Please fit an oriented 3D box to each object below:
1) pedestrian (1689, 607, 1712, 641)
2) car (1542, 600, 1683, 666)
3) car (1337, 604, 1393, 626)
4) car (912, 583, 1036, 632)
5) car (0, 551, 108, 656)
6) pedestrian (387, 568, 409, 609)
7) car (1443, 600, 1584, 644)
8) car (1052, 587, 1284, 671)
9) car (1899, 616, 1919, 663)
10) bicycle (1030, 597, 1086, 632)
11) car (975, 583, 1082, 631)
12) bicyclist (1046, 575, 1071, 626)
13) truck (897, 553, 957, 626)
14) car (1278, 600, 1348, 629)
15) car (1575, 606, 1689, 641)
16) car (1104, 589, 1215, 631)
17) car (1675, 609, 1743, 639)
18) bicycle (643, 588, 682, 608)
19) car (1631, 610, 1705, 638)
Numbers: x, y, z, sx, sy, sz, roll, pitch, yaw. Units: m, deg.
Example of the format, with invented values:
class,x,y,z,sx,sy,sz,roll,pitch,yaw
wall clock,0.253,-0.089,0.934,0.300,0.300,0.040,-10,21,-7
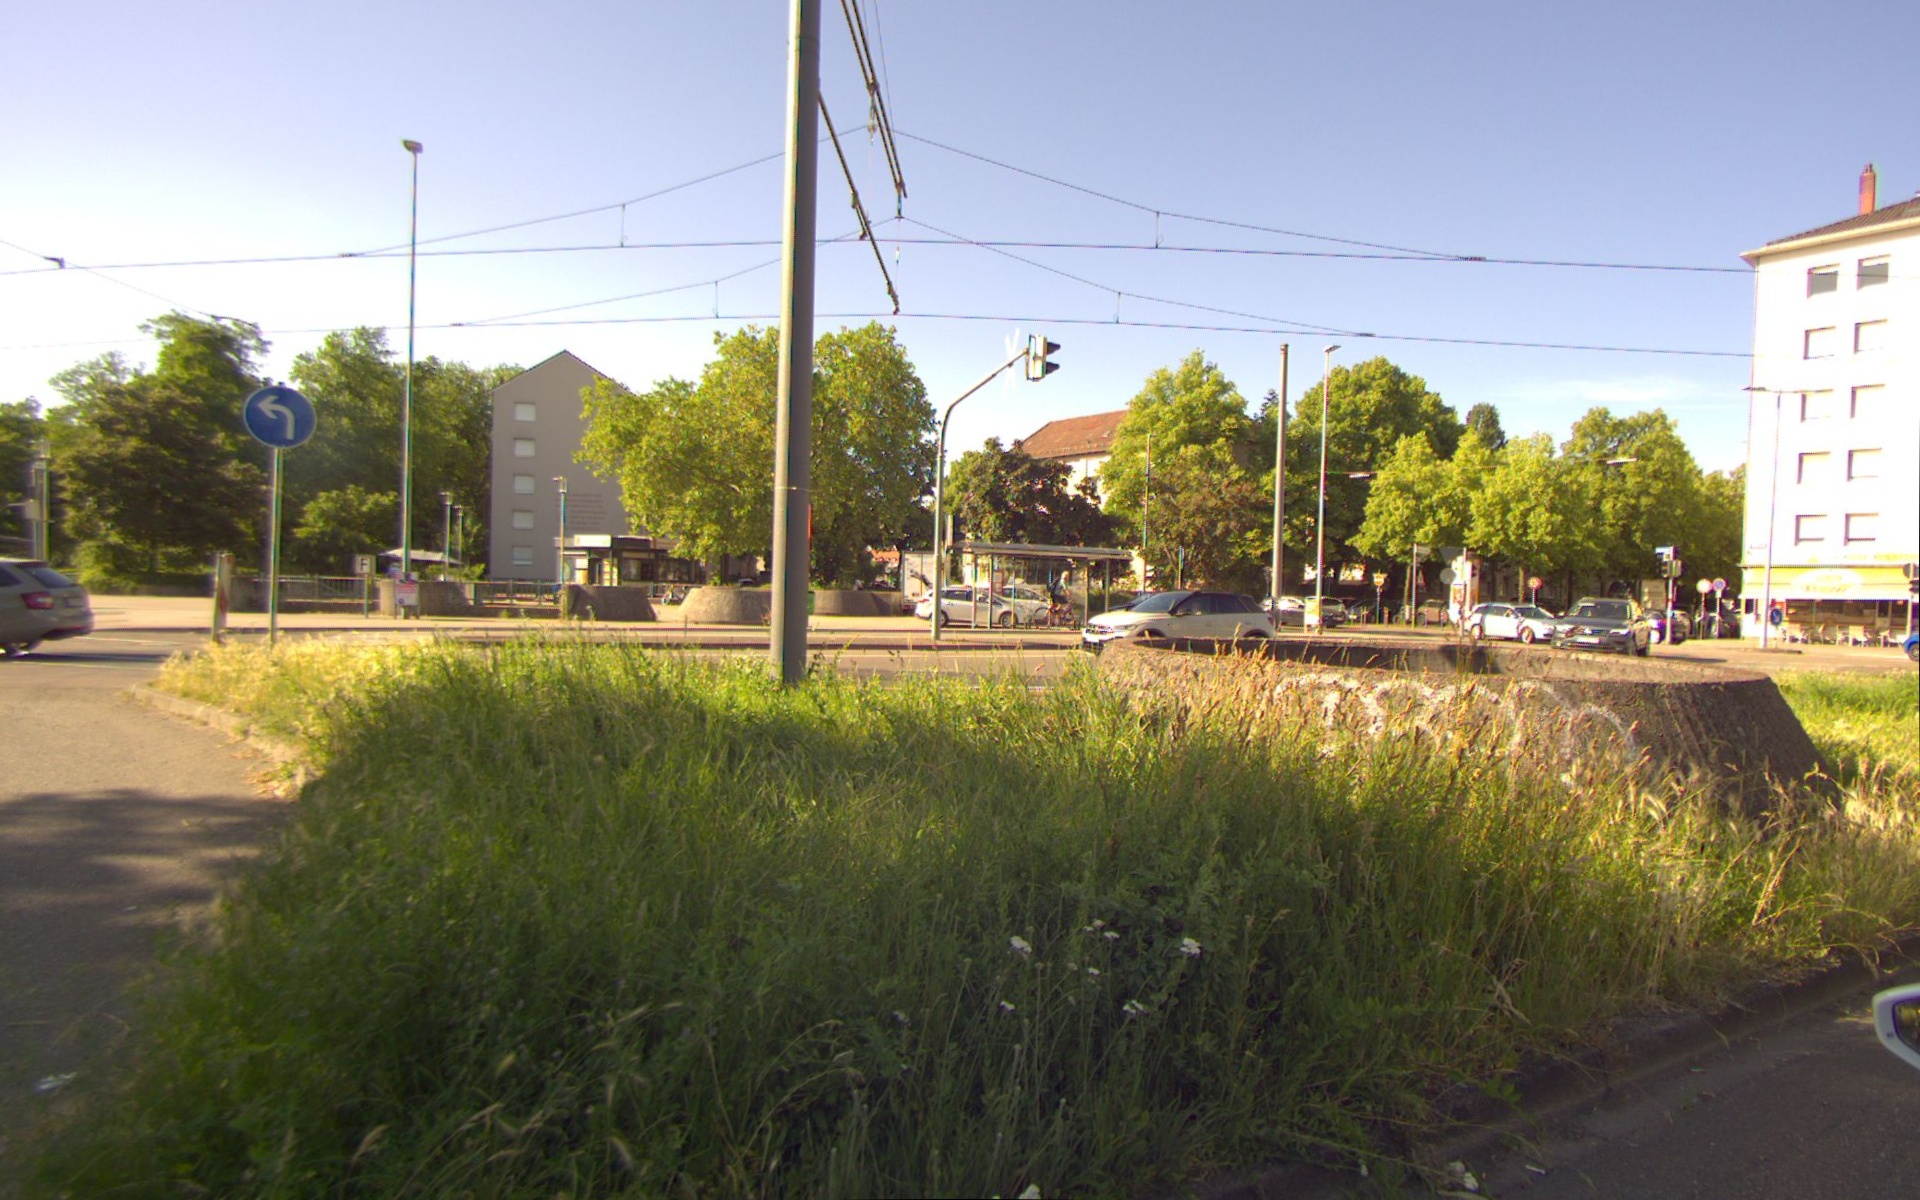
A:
class,x,y,z,sx,sy,sz,roll,pitch,yaw
pedestrian,36.546,1.195,49.586,0.780,1.643,0.828,2,1,31
car,17.926,0.878,27.509,4.680,1.635,1.740,1,1,-38
car,25.349,0.915,62.831,3.667,1.311,1.583,1,1,-37
car,0.573,0.266,37.845,4.457,1.565,1.873,2,4,7
car,-15.162,-0.019,14.254,4.338,1.468,1.659,2,1,-22
pedestrian,-25.988,-0.521,46.438,0.715,1.854,0.558,2,1,-15
car,21.518,0.822,39.280,1.709,1.461,4.859,2,1,-21
car,4.316,0.601,20.915,4.322,1.583,1.990,2,1,-21
car,31.063,1.282,30.654,1.618,1.457,3.396,2,1,1
bicycle,3.000,0.447,30.843,1.625,1.015,0.614,1,2,0
car,2.713,0.259,40.325,3.928,1.741,1.760,1,4,-10
bicyclist,3.024,0.008,30.833,0.663,1.551,0.614,1,2,0
truck,-1.410,-0.497,44.956,1.959,3.035,4.830,2,1,6
car,20.944,0.856,59.598,4.182,1.639,1.749,1,2,-34
car,27.780,0.942,41.568,1.683,1.270,3.582,1,1,-41
car,7.958,0.399,40.128,3.941,1.509,1.758,1,4,-15
car,42.118,1.341,56.439,3.900,1.533,1.923,1,1,-35
bicycle,-13.982,-0.104,47.231,1.651,0.850,0.548,2,1,11
car,36.141,1.229,51.257,3.963,1.328,1.979,1,1,-37
